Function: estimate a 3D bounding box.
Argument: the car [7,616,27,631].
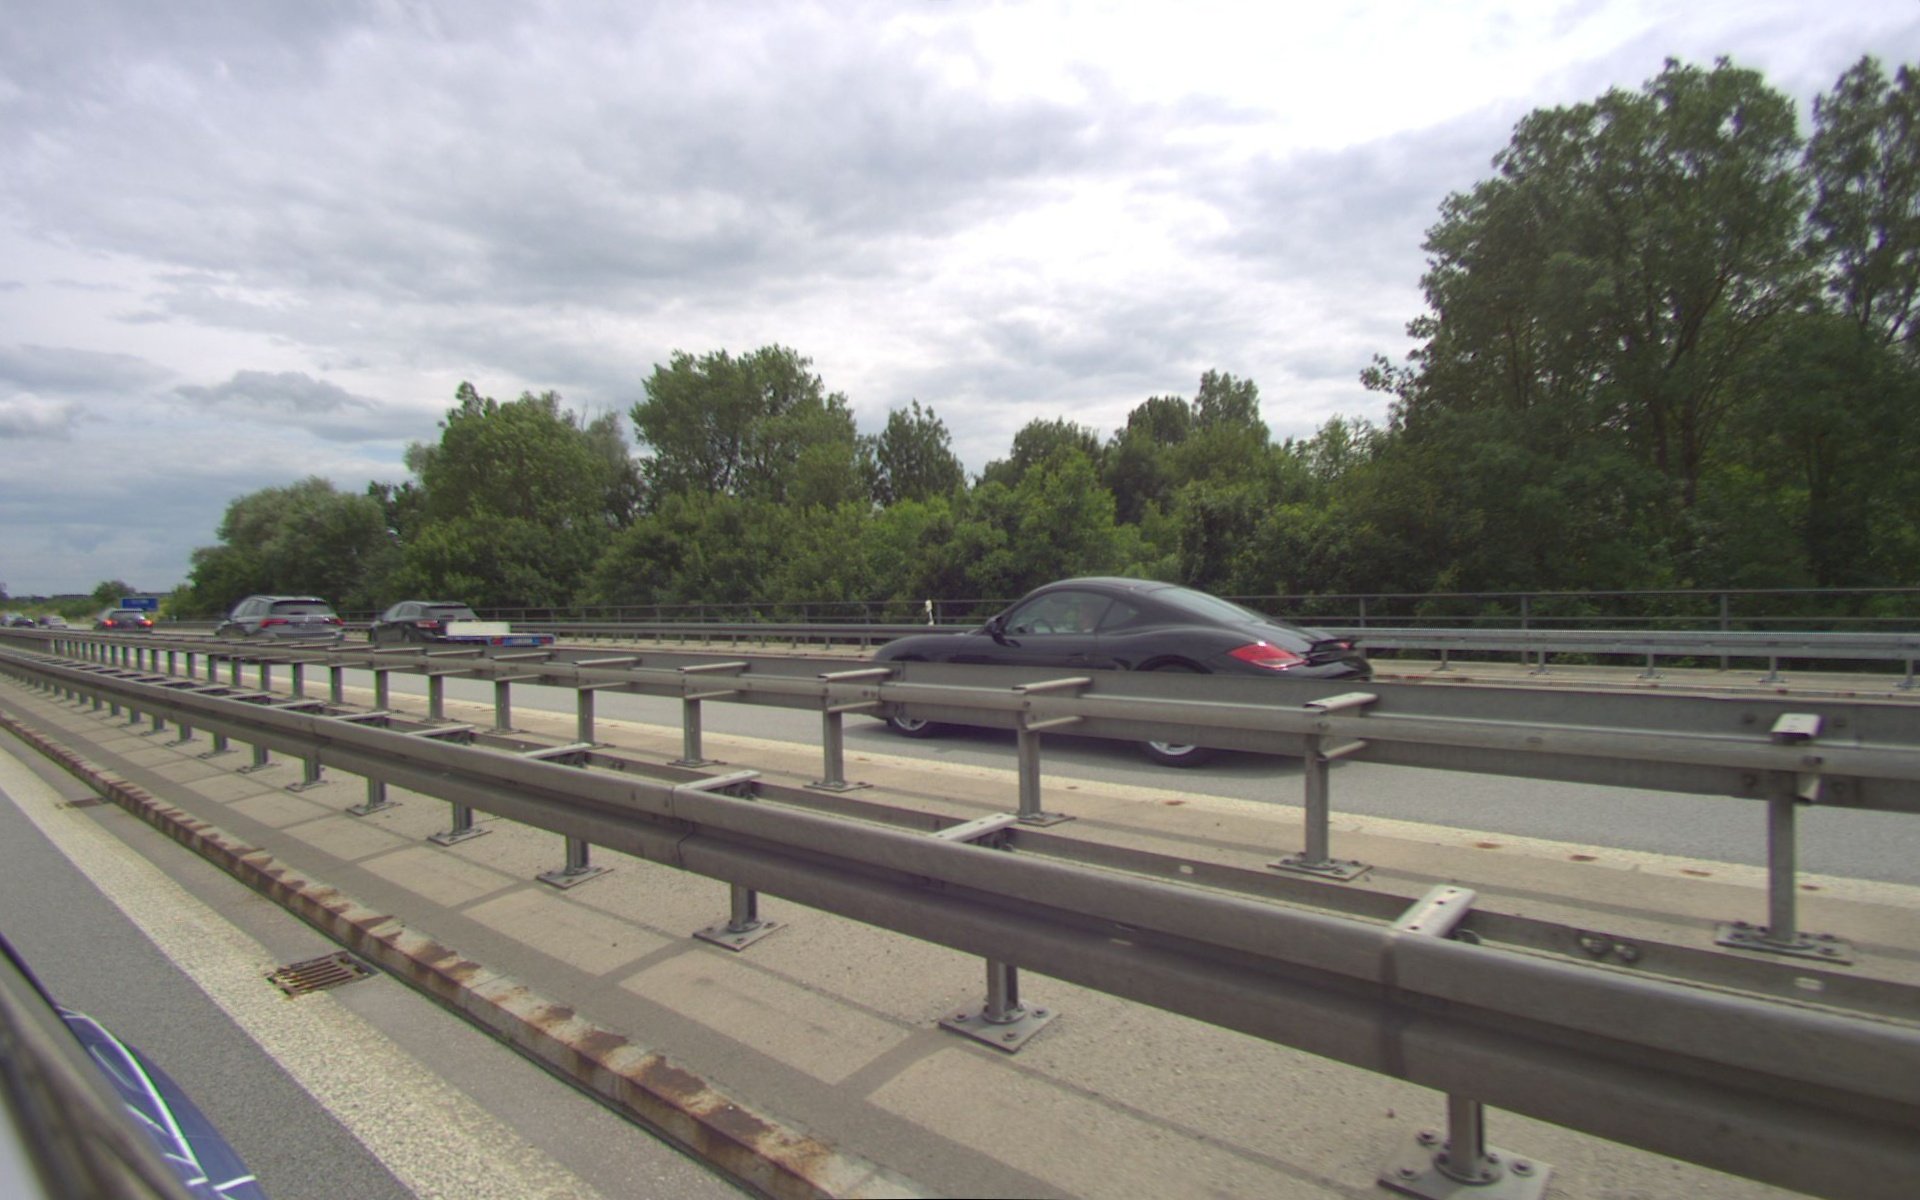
[{"bbox_3d":[-132.626,3.324,142.322,4.715,1.925,1.752,-2,1,43],"label":"car"}]

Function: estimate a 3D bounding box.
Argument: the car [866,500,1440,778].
[{"bbox_3d":[1.243,0.252,7.635,3.999,1.561,1.626,-1,-1,42],"label":"car"}]

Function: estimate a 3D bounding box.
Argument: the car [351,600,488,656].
[{"bbox_3d":[-15.129,0.764,28.182,4.940,1.420,1.719,-1,-1,41],"label":"car"}]

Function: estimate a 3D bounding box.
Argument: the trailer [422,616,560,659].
[{"bbox_3d":[-11.720,0.917,25.205,3.998,0.959,1.651,-2,0,41],"label":"trailer"}]

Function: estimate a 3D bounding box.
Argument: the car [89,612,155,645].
[{"bbox_3d":[-36.734,1.236,44.317,4.147,1.377,1.634,-2,-1,42],"label":"car"}]

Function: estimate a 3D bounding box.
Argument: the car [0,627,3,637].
[{"bbox_3d":[-184.297,6.150,193.697,1.705,1.663,4.226,-2,-1,-44],"label":"car"}]

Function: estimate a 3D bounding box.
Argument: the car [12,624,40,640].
[{"bbox_3d":[-90.529,3.095,98.111,4.358,1.386,1.667,-1,0,43],"label":"car"}]

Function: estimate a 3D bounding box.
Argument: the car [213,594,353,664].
[{"bbox_3d":[-15.426,0.635,22.968,4.109,1.447,1.674,-1,-1,42],"label":"car"}]

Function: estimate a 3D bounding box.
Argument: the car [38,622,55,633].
[{"bbox_3d":[-136.759,4.109,151.468,1.709,1.571,4.334,-1,-1,-44],"label":"car"}]

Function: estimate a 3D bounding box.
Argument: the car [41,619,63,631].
[{"bbox_3d":[-115.699,3.208,128.918,3.938,1.449,1.824,-1,-1,45],"label":"car"}]
